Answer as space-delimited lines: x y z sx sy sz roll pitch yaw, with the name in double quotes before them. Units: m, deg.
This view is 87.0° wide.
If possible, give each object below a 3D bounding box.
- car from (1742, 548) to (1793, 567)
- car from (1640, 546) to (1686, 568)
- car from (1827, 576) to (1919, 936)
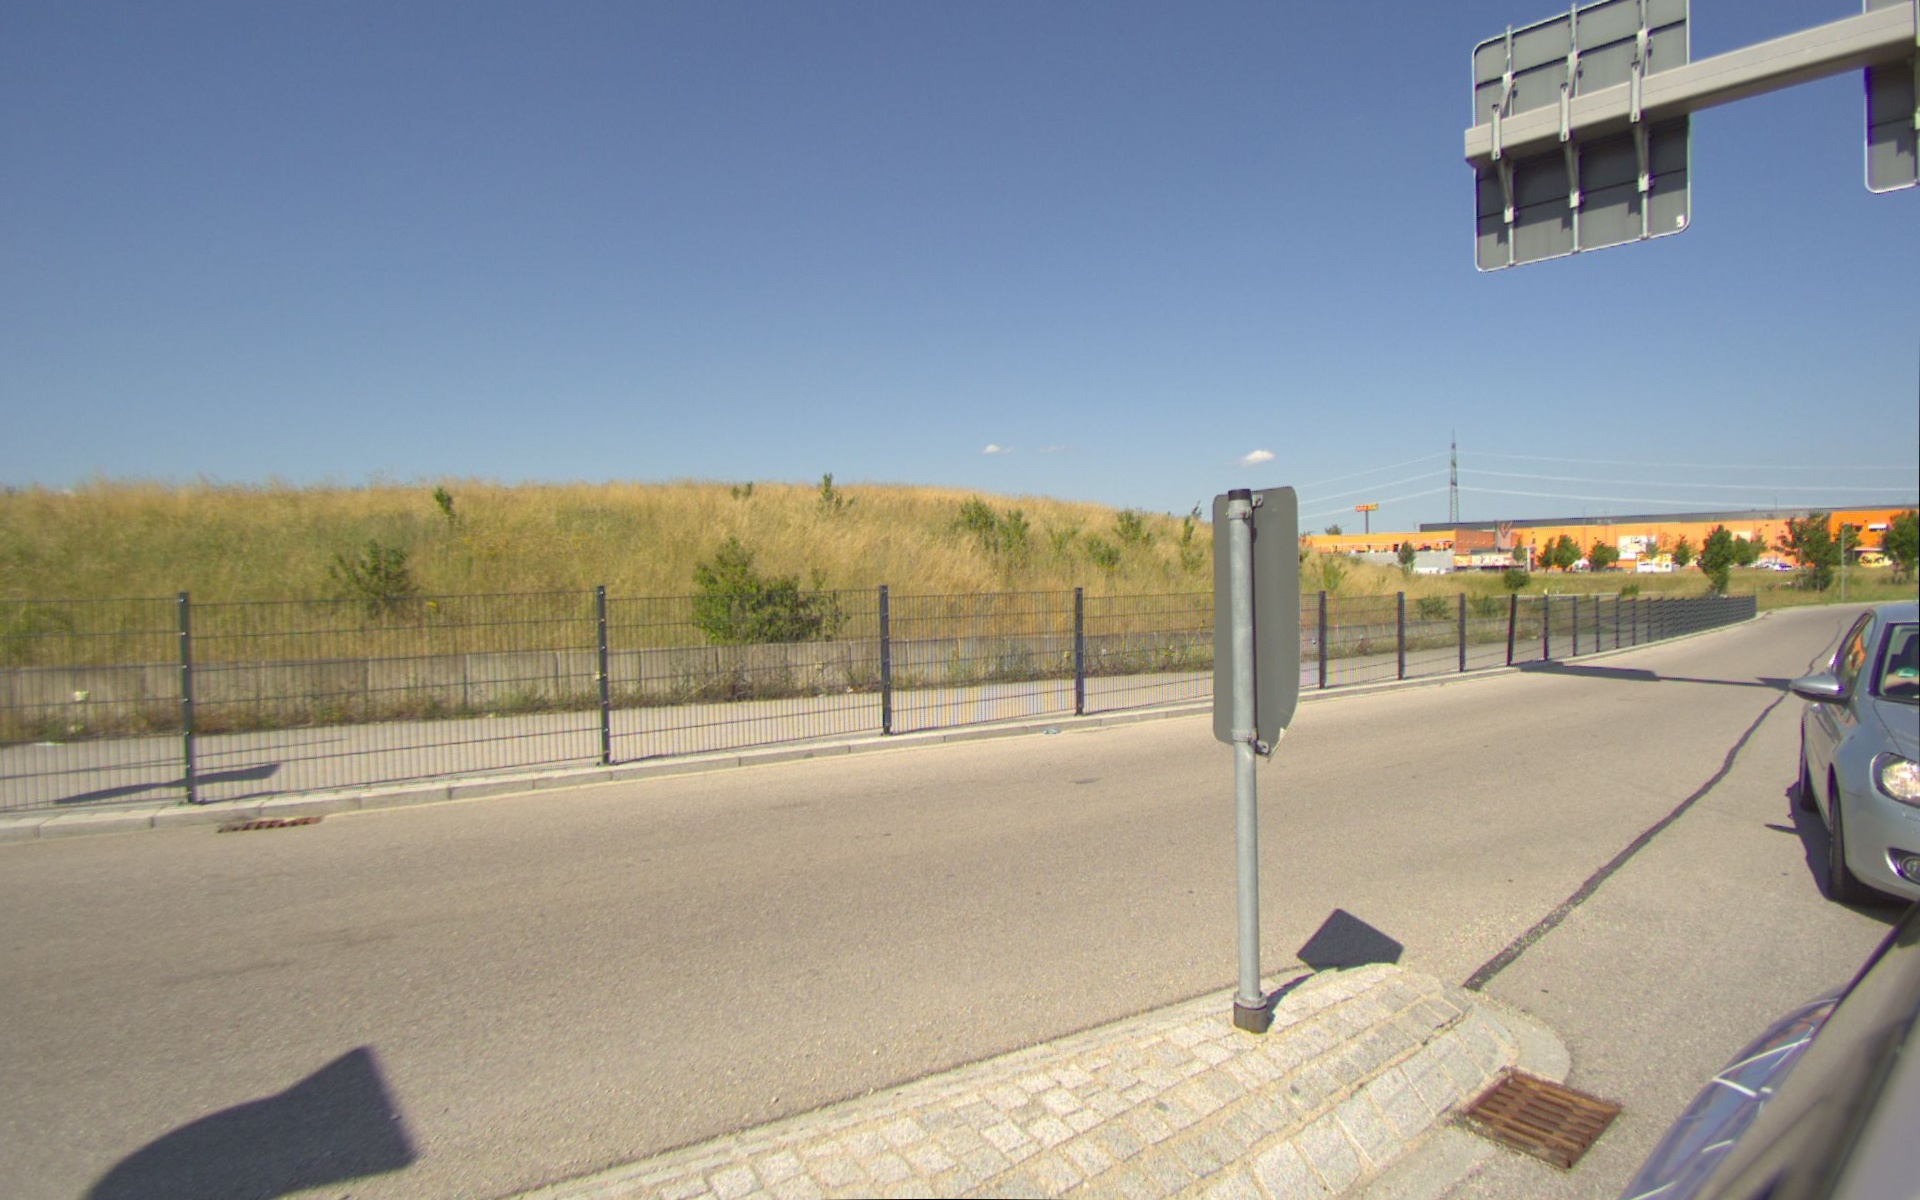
"car" 95.615 -4.988 119.893 4.611 2.039 1.973 -1 1 38
"car" 87.891 -5.316 126.565 4.611 2.580 1.973 -1 0 38
"car" 5.706 0.643 5.275 1.740 1.486 3.902 3 3 41
